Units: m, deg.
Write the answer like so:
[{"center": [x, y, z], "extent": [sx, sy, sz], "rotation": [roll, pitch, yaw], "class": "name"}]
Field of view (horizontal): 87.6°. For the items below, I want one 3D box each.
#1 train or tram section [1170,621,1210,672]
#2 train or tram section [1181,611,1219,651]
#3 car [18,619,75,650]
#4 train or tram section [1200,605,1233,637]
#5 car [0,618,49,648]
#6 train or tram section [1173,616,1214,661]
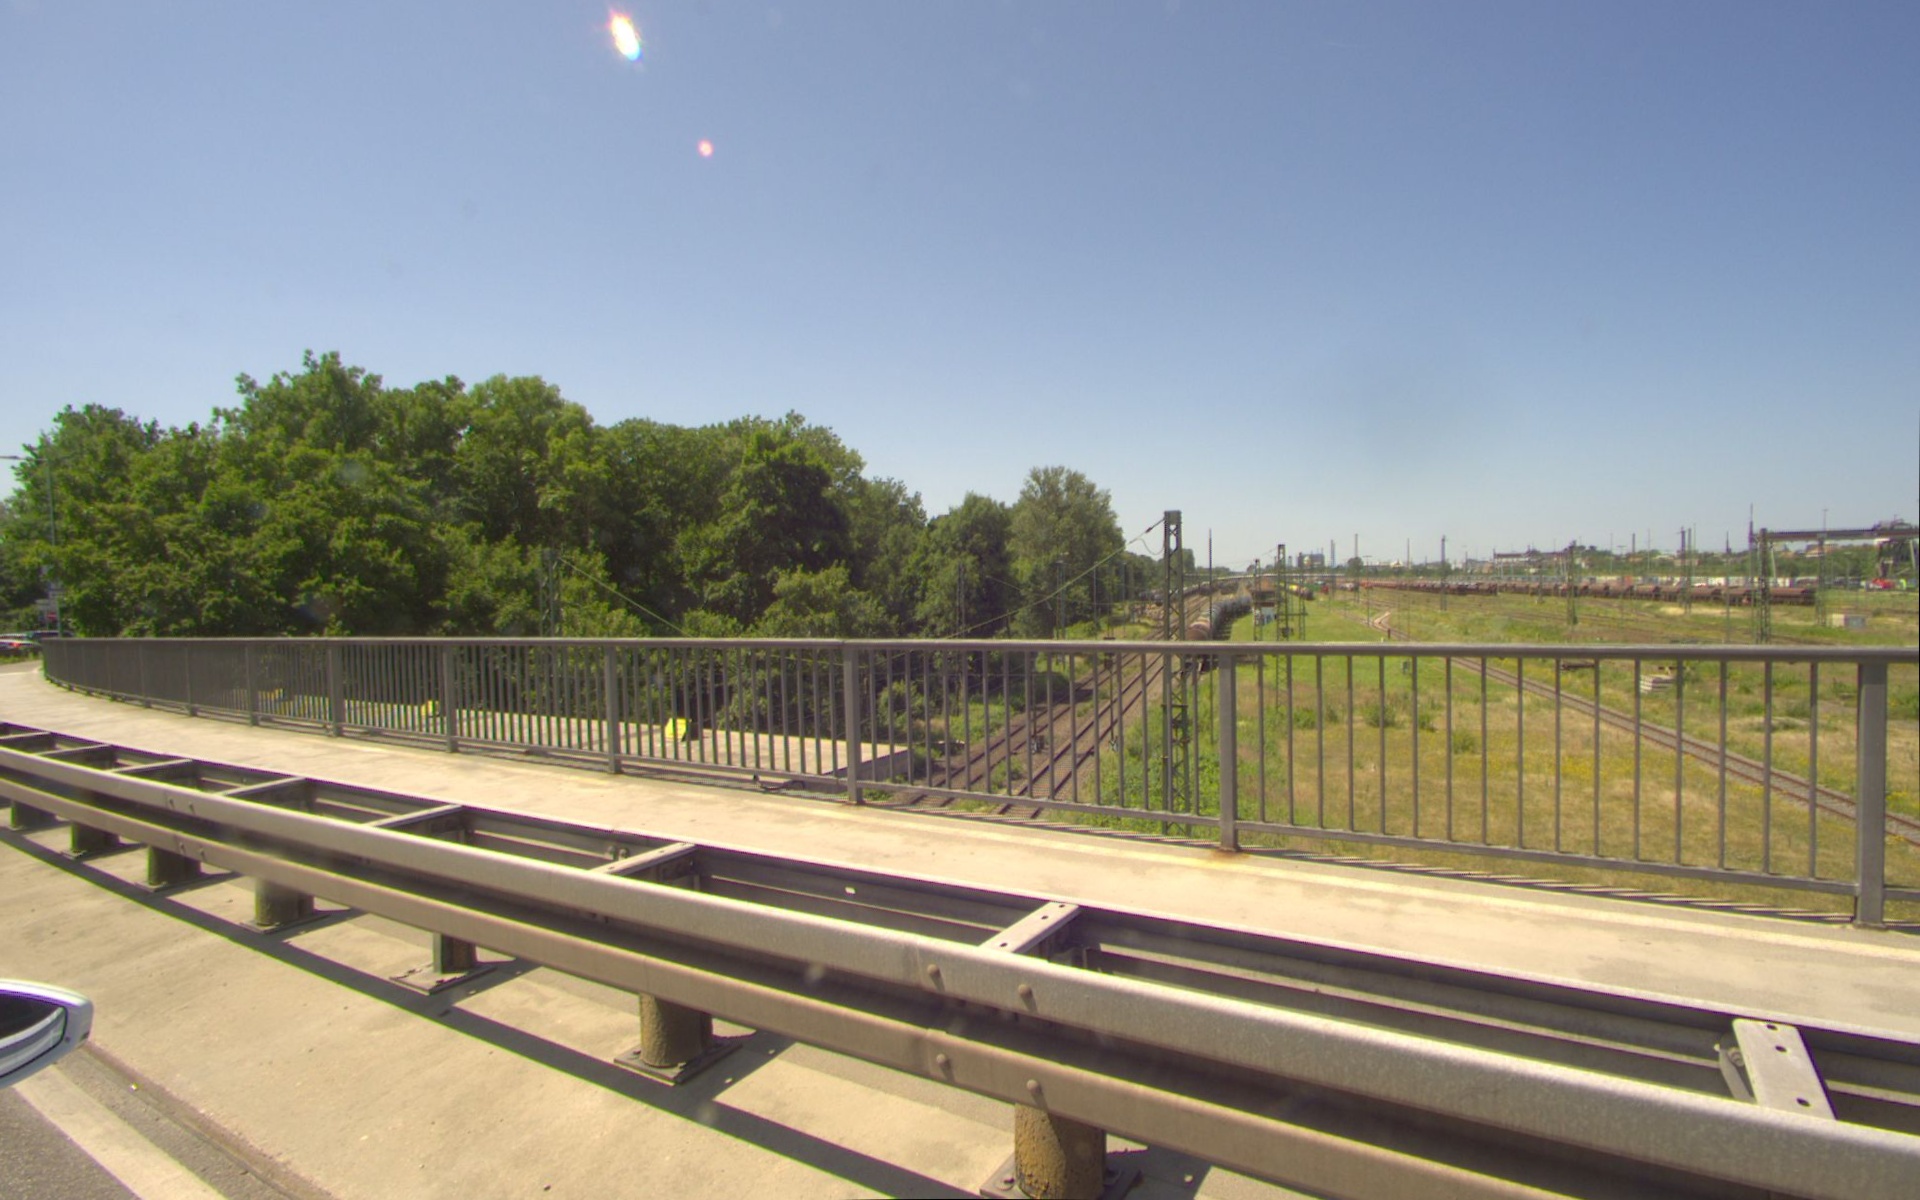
[{"center": [24.630, 4.840, 106.974], "extent": [3.781, 4.366, 13.612], "rotation": [-2, 1, 14], "class": "train or tram section"}, {"center": [32.066, 4.045, 133.163], "extent": [3.783, 4.366, 13.603], "rotation": [-2, 1, 18], "class": "train or tram section"}, {"center": [-56.330, 2.129, 61.796], "extent": [1.666, 1.783, 3.982], "rotation": [0, -2, -29], "class": "car"}, {"center": [40.769, 3.235, 158.879], "extent": [3.784, 4.366, 13.599], "rotation": [-2, 1, 19], "class": "train or tram section"}, {"center": [-52.952, 1.862, 56.130], "extent": [1.972, 1.594, 3.981], "rotation": [2, -4, -31], "class": "car"}, {"center": [28.176, 4.450, 120.157], "extent": [3.783, 4.366, 13.605], "rotation": [-2, 1, 17], "class": "train or tram section"}]
